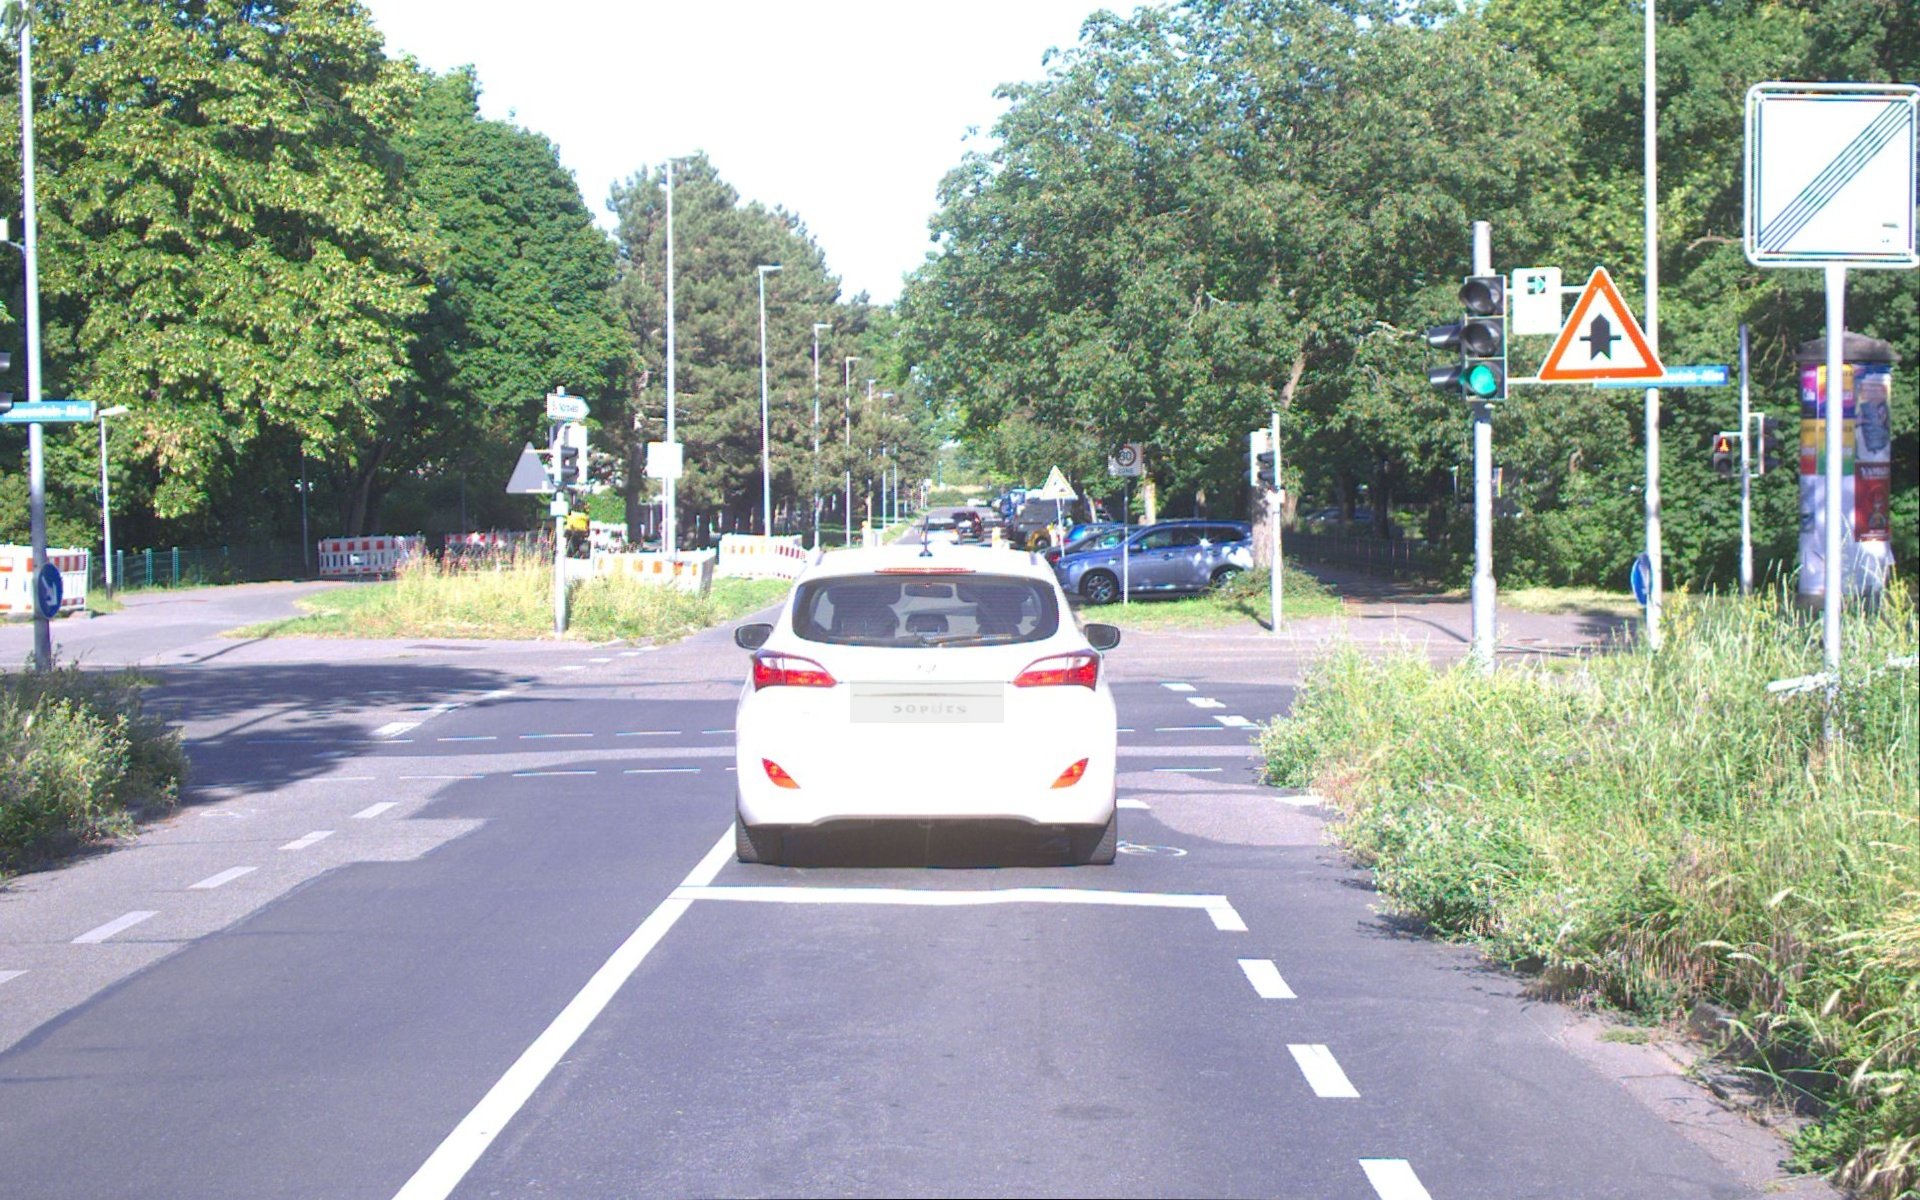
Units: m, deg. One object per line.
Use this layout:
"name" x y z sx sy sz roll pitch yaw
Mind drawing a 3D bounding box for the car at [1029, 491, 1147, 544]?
"car" 4.202 -2.738 113.612 3.819 1.678 1.863 1 1 1

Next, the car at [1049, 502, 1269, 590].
"car" 4.135 -1.135 71.607 4.499 1.776 1.855 0 2 3

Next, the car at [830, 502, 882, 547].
"car" -4.325 -3.166 144.021 1.993 1.809 4.000 1 1 1

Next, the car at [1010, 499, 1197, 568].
"car" 3.495 -1.626 83.719 4.499 1.624 1.855 0 2 3

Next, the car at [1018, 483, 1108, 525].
"car" 4.422 -4.127 147.801 3.819 1.761 1.863 1 1 1

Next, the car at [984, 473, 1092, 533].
"car" 2.807 -3.494 123.657 3.819 2.091 1.863 1 1 1

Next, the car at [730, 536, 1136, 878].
"car" -0.164 0.436 17.160 1.789 1.458 3.964 0 2 -1

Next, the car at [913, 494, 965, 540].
"car" -0.837 -3.413 141.240 1.993 1.809 4.000 2 1 1

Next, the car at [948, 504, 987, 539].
"car" 0.419 -4.119 180.979 1.993 1.809 4.000 1 1 1

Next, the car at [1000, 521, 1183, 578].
"car" 4.057 -1.585 107.051 5.614 1.678 1.948 1 1 1

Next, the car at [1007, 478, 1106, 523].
"car" 4.214 -4.368 150.949 4.302 1.901 1.863 1 1 1

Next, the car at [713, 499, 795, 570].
"car" -5.715 -1.842 95.816 1.993 1.809 4.001 1 3 1
